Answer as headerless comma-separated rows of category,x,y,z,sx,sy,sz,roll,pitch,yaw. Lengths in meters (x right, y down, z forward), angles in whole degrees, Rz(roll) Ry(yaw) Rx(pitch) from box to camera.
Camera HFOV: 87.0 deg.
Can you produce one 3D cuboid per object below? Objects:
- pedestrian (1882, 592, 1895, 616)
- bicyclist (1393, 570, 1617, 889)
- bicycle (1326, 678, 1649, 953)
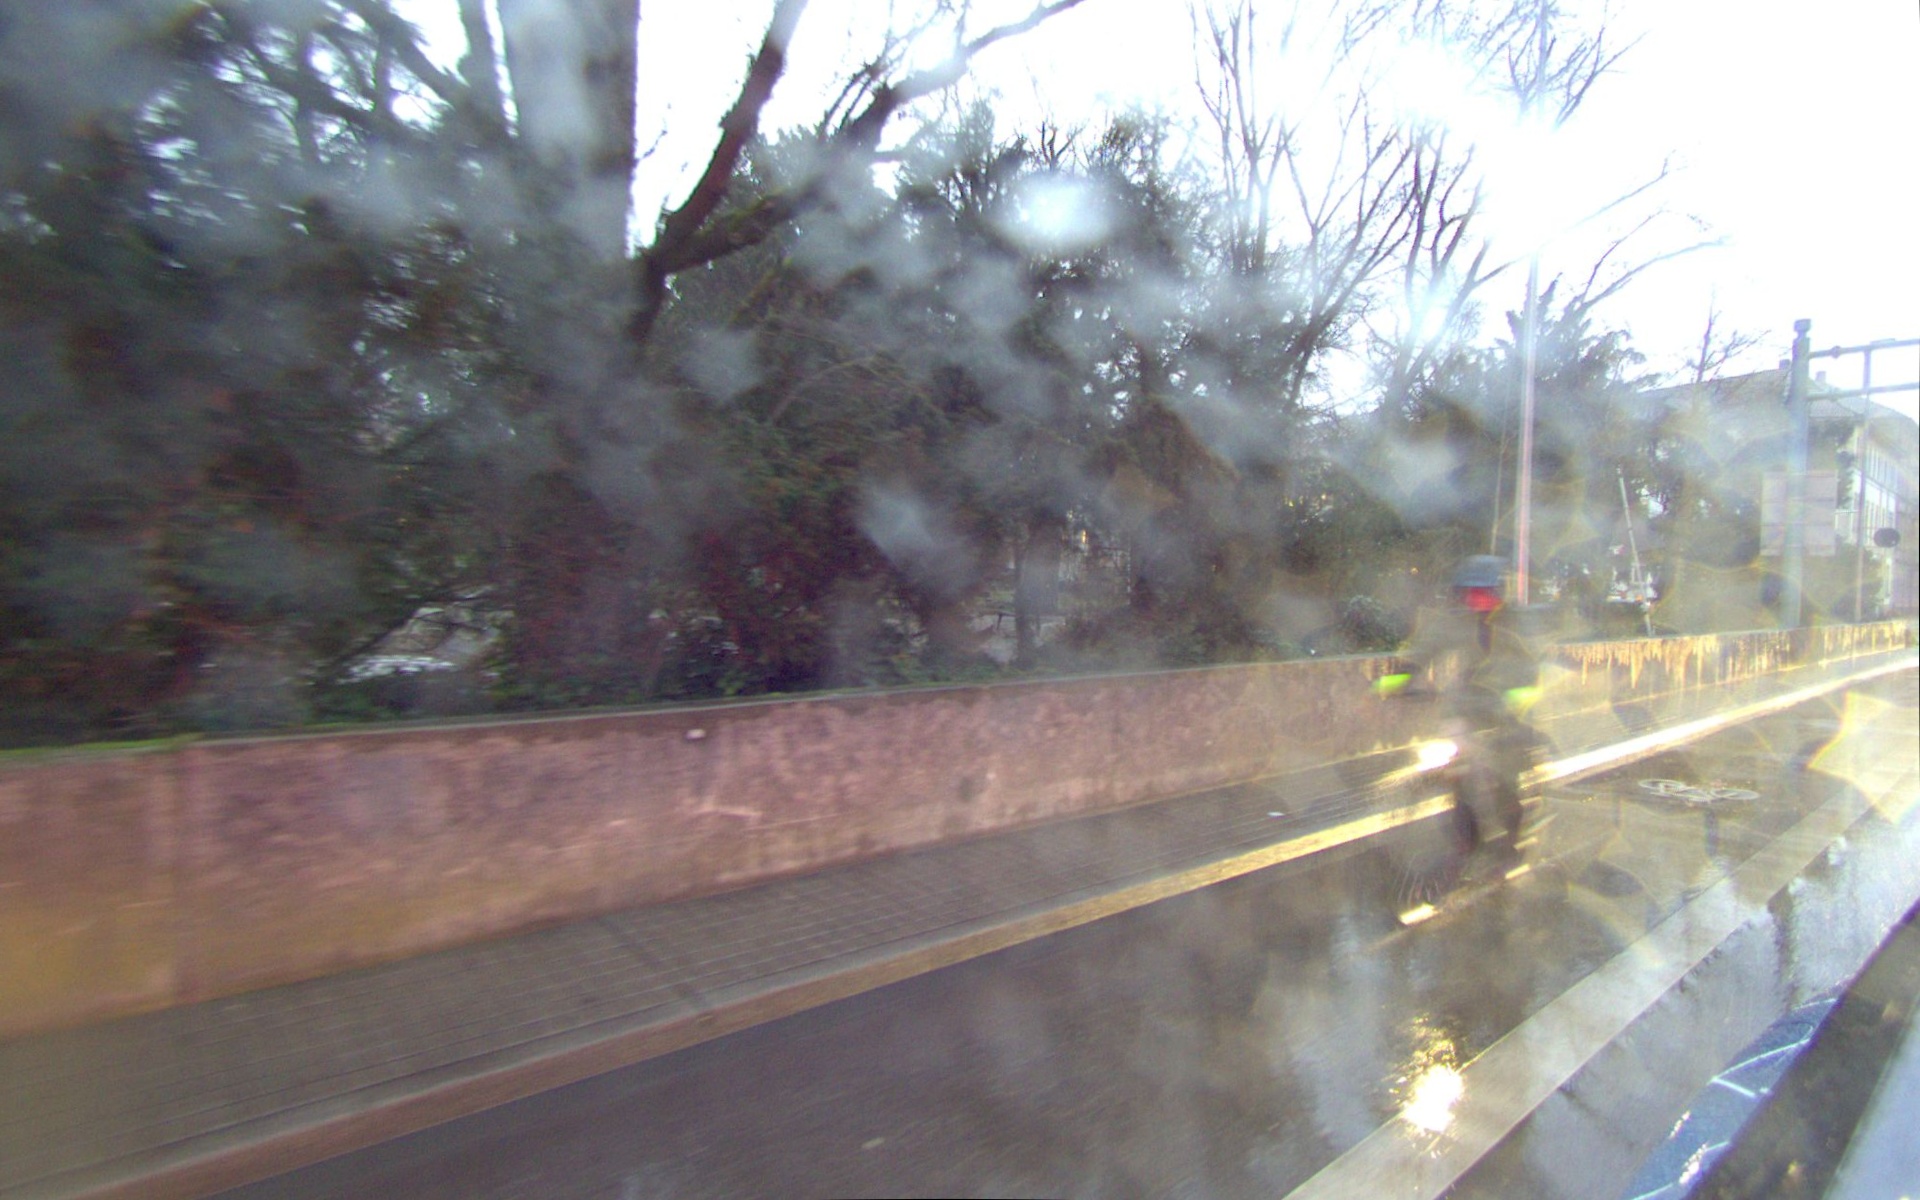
pedestrian,59.660,0.261,65.019,0.577,1.529,0.520,1,2,-41
bicyclist,2.696,0.568,5.002,0.874,1.406,0.647,1,1,-38
bicycle,2.685,0.954,5.040,2.009,0.978,0.647,0,2,-38
